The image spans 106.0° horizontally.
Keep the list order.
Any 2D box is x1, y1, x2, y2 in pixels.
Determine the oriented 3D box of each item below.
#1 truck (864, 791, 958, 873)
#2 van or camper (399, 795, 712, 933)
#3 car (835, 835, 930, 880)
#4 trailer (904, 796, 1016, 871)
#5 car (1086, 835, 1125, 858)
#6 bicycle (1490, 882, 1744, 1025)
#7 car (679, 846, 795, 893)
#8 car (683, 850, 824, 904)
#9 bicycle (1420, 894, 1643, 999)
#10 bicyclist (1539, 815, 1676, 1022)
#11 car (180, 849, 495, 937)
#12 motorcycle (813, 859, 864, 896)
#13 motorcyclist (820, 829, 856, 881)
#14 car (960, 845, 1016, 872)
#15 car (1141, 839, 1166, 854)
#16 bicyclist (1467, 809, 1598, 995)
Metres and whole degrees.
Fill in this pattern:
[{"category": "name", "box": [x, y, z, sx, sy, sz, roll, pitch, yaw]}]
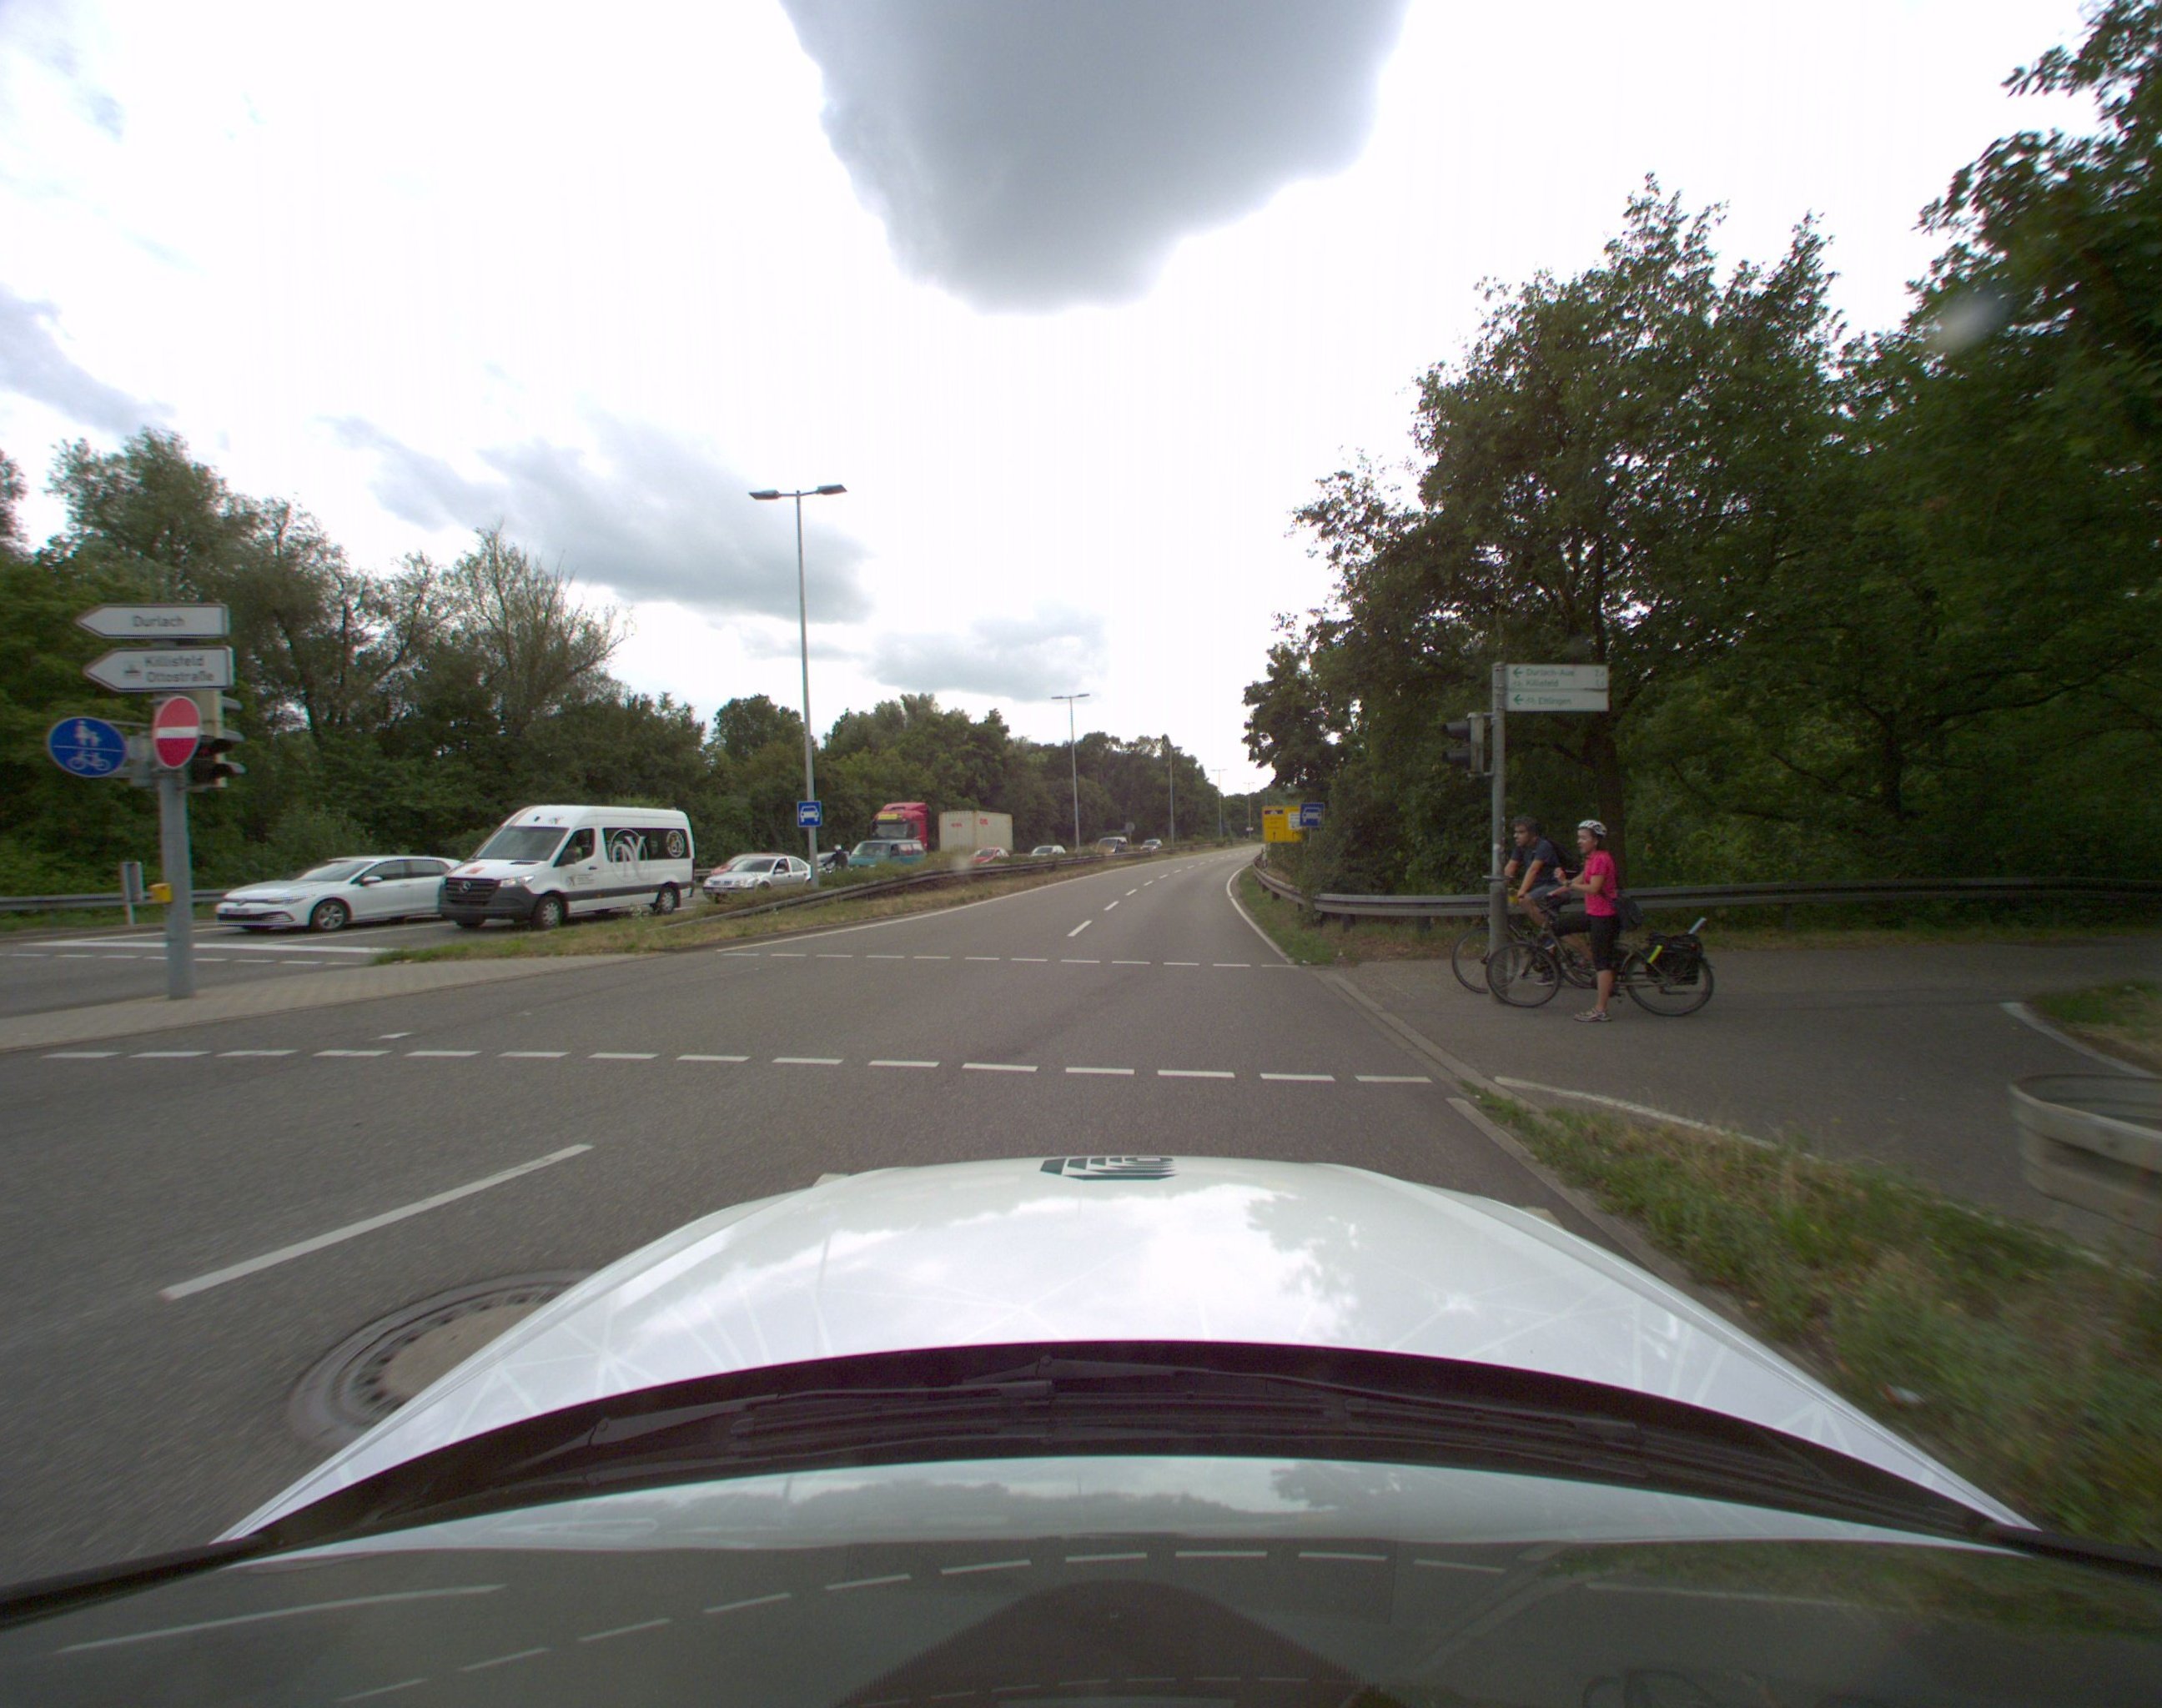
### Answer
[{"category": "truck", "box": [-9.032, -1.135, 43.920, 2.548, 4.083, 5.647, -1, 0, 16]}, {"category": "van or camper", "box": [-11.421, 0.170, 18.610, 2.147, 2.588, 6.512, -1, 0, 9]}, {"category": "car", "box": [-8.225, 0.108, 34.333, 1.791, 1.729, 4.979, -1, 0, 13]}, {"category": "trailer", "box": [-7.155, -1.173, 50.449, 2.515, 4.147, 10.818, -1, 0, 16]}, {"category": "car", "box": [2.139, -0.654, 68.604, 1.994, 1.863, 5.301, -1, 0, 16]}, {"category": "bicycle", "box": [4.666, 0.869, 7.221, 1.728, 1.138, 0.633, -3, -1, 18]}, {"category": "car", "box": [-12.514, 0.516, 29.927, 1.980, 1.614, 4.013, -1, 0, 12]}, {"category": "car", "box": [-9.987, 0.640, 25.243, 1.981, 1.498, 4.413, -1, 0, 10]}, {"category": "bicycle", "box": [4.738, 0.960, 8.655, 1.964, 0.941, 0.661, -3, 0, 1]}, {"category": "bicyclist", "box": [4.638, 0.546, 7.230, 0.844, 1.732, 0.640, -2, 0, 18]}, {"category": "car", "box": [-15.001, 0.698, 16.883, 1.982, 1.547, 4.549, -1, 0, 8]}, {"category": "motorcycle", "box": [-8.649, 0.810, 29.172, 0.794, 1.224, 2.332, -1, 0, 9]}, {"category": "motorcyclist", "box": [-8.697, 0.036, 29.173, 0.860, 1.823, 0.928, -1, 0, 9]}, {"category": "car", "box": [-5.264, 0.236, 46.497, 1.791, 1.432, 4.142, -1, 0, 15]}, {"category": "car", "box": [7.379, -0.785, 82.569, 1.753, 1.506, 3.958, -1, 0, 18]}, {"category": "bicyclist", "box": [4.773, 0.489, 8.662, 0.945, 1.844, 0.664, -3, 0, 1]}]
